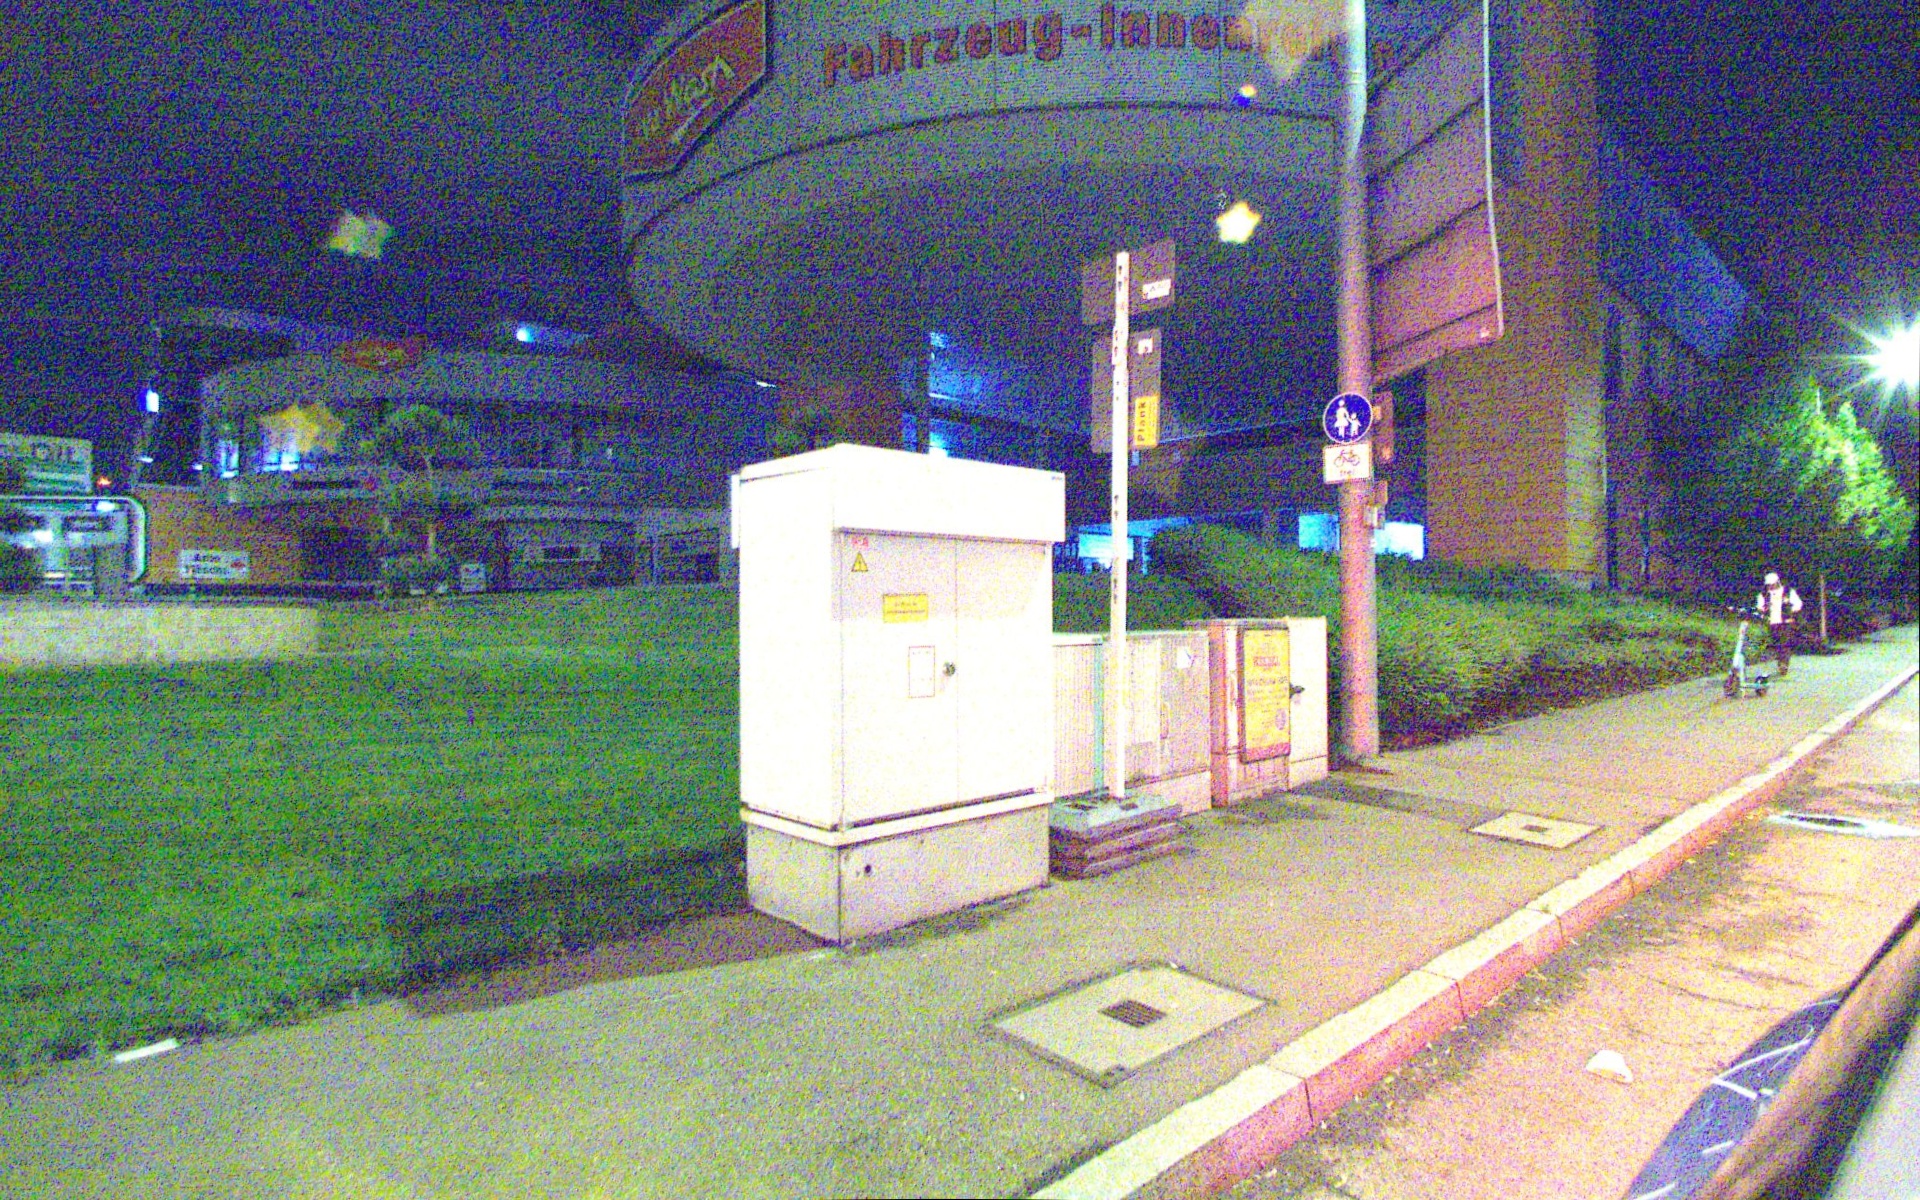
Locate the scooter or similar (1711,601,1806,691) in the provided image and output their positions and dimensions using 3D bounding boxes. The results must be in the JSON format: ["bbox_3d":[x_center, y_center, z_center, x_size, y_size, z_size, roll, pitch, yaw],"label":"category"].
[{"bbox_3d":[11.012,0.627,13.960,1.111,1.217,0.470,1,-1,-17],"label":"scooter or similar"}]

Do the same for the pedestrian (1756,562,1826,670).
[{"bbox_3d":[15.085,0.268,18.374,1.016,1.888,0.819,0,0,-41],"label":"pedestrian"}]
